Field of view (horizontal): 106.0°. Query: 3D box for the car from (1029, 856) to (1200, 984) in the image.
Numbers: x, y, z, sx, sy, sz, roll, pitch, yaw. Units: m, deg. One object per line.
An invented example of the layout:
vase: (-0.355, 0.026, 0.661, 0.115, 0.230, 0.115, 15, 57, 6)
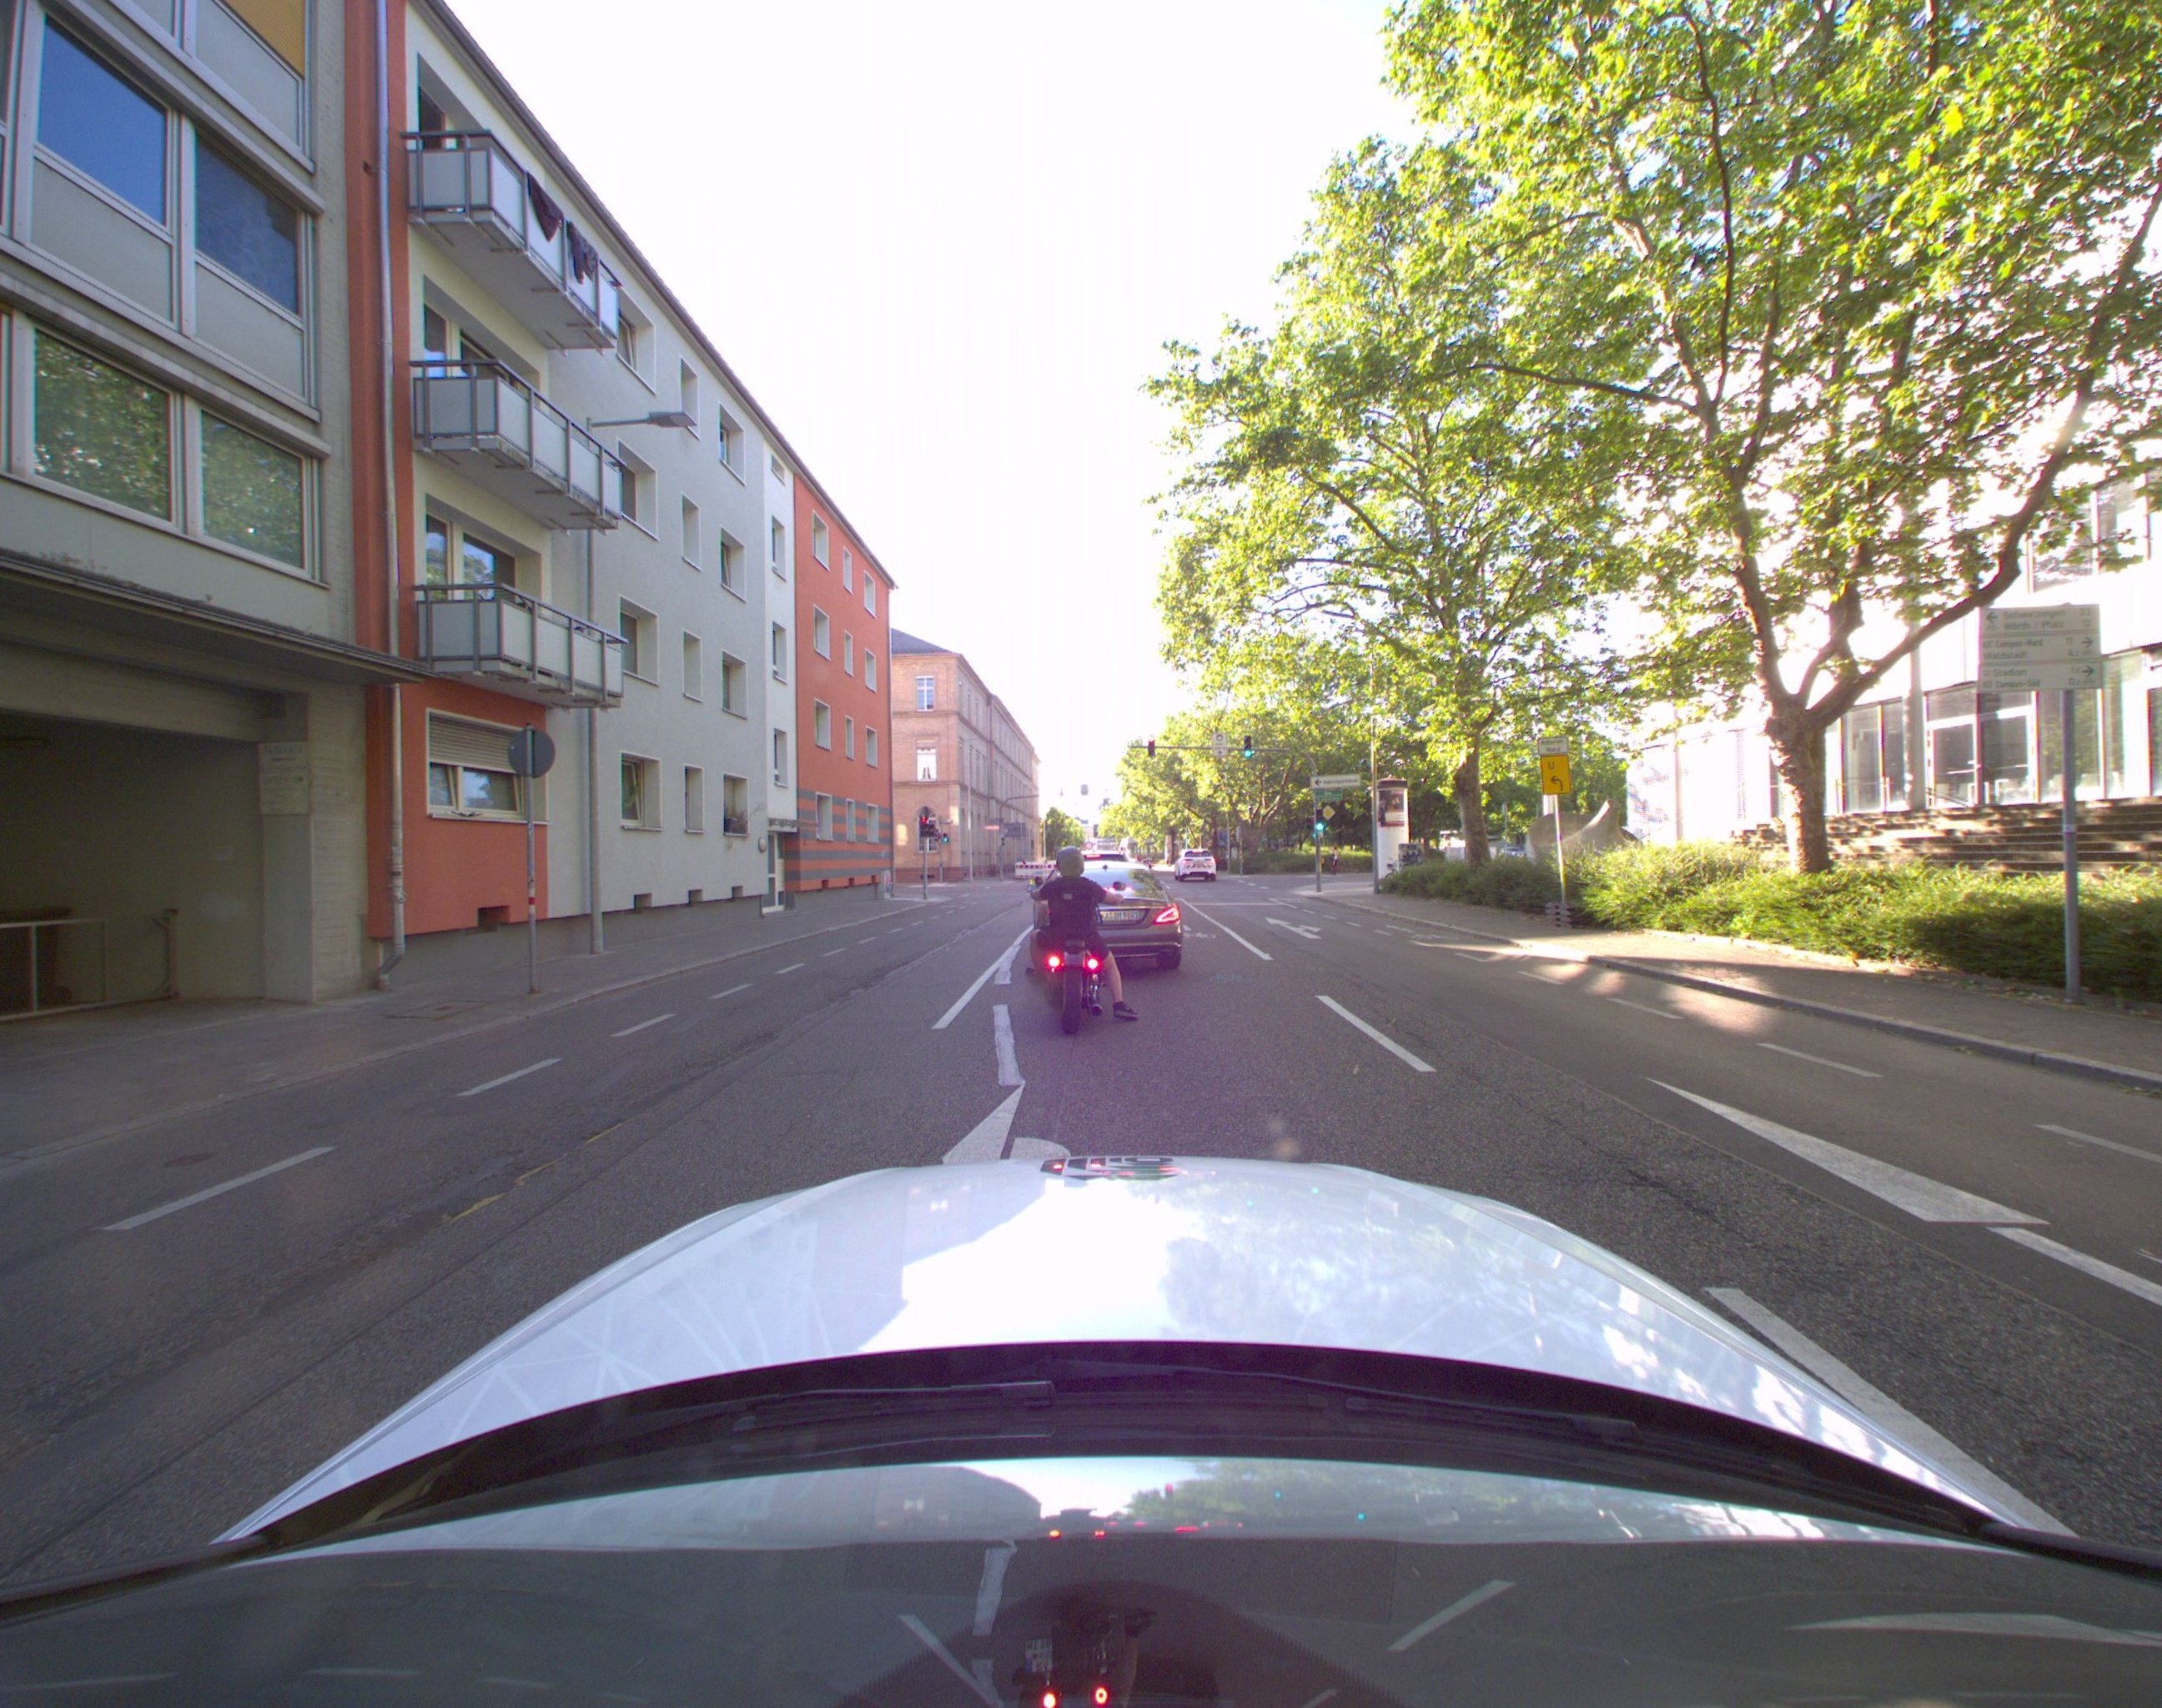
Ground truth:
car: (0.259, 0.768, 11.739, 1.867, 1.444, 4.421, -1, 0, -6)

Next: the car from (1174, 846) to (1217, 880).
car: (6.008, 0.464, 43.155, 1.935, 1.708, 4.487, 0, 0, 3)

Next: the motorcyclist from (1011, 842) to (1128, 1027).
motorcyclist: (-0.080, 0.698, 7.681, 0.977, 1.578, 1.249, -1, 0, 1)

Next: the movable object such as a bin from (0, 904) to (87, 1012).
movable object such as a bin: (-11.293, 1.087, 8.641, 0.639, 1.065, 0.675, -1, 0, 1)

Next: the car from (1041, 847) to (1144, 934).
car: (0.285, 0.720, 17.666, 1.986, 1.665, 4.001, 0, -1, 2)

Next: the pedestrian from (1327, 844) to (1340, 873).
pedestrian: (15.578, 0.301, 50.242, 0.671, 1.772, 0.621, -1, -1, 31)

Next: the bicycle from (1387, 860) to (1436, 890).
bicycle: (11.075, 0.707, 27.317, 1.475, 0.980, 0.300, 0, -1, 7)

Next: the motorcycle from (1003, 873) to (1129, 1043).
motorcycle: (-0.079, 0.852, 7.672, 0.977, 1.275, 2.408, -1, 0, 2)
